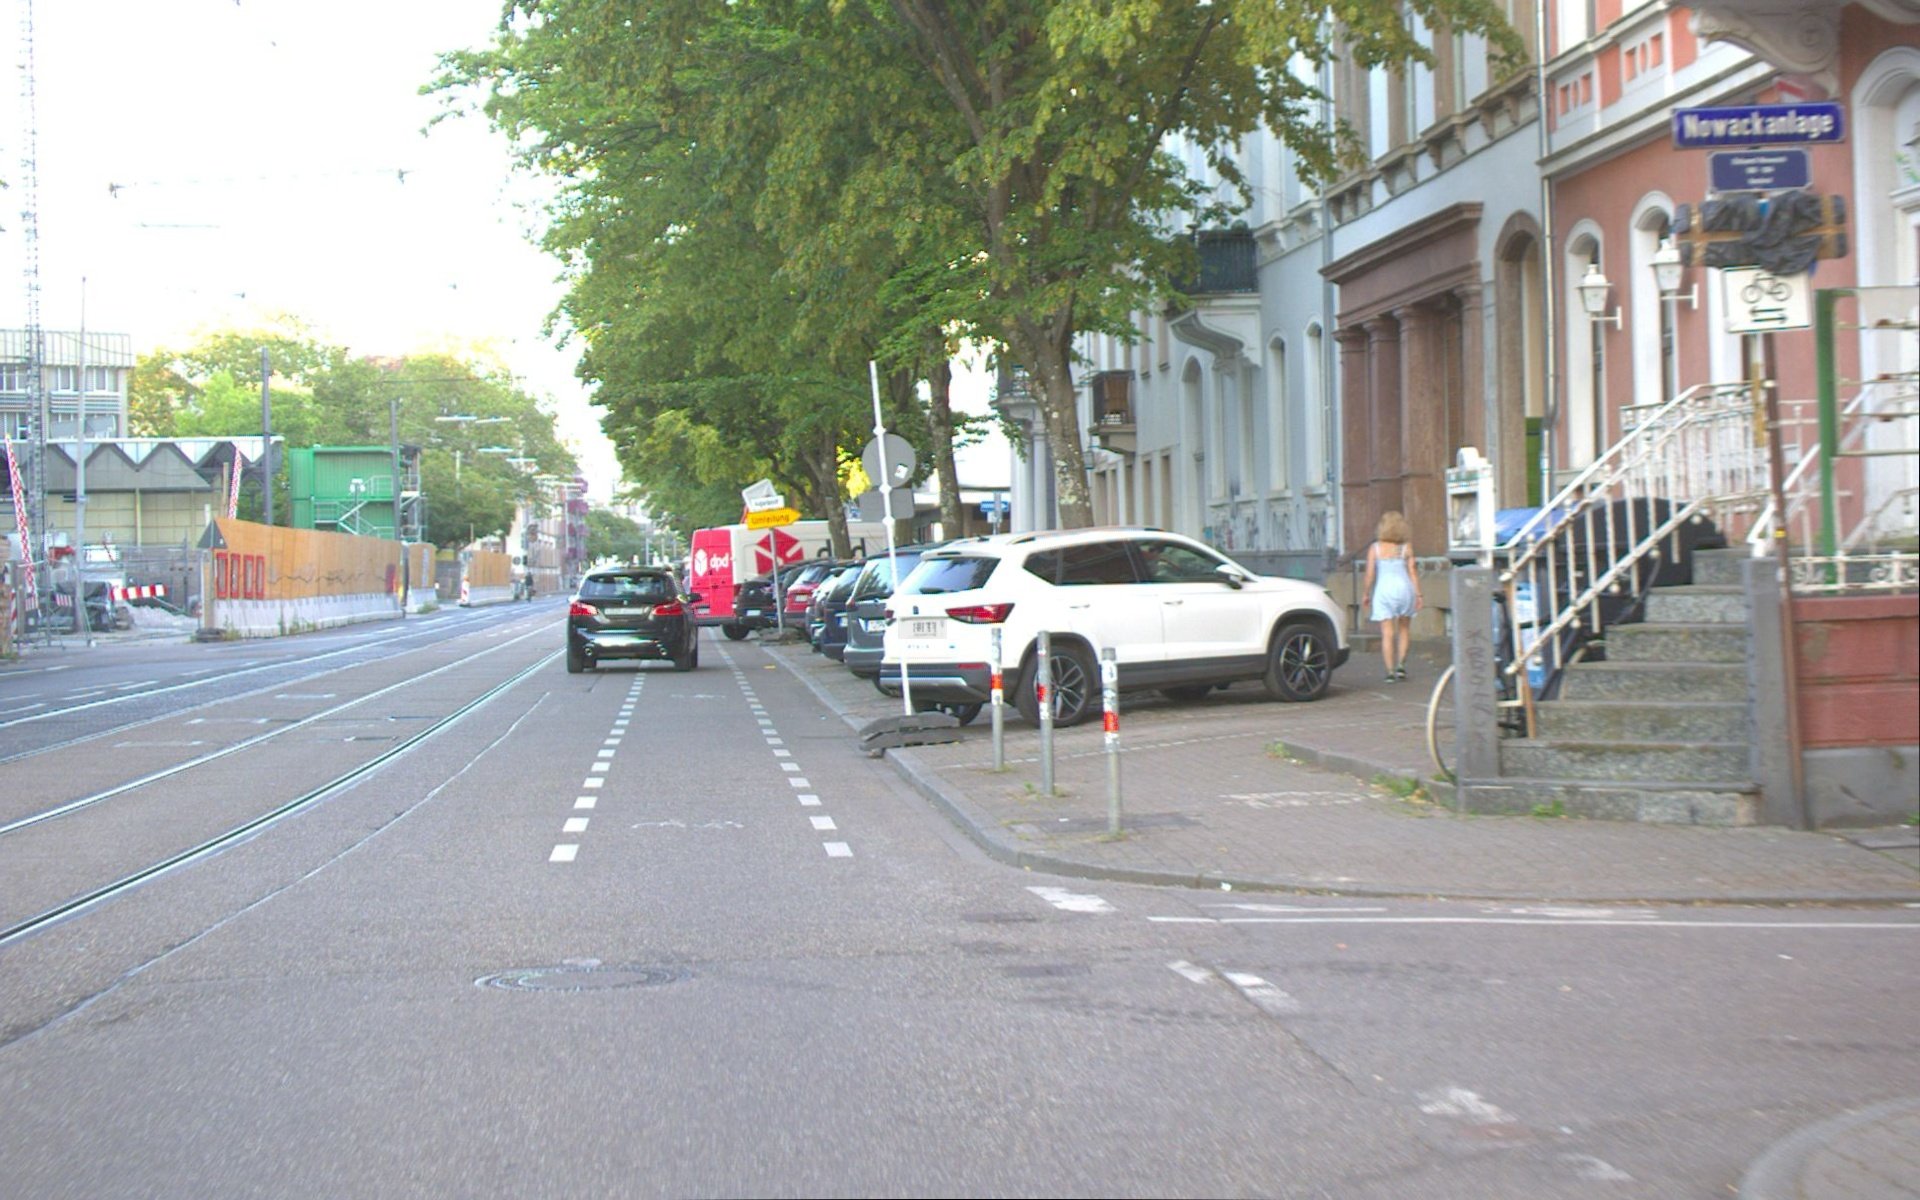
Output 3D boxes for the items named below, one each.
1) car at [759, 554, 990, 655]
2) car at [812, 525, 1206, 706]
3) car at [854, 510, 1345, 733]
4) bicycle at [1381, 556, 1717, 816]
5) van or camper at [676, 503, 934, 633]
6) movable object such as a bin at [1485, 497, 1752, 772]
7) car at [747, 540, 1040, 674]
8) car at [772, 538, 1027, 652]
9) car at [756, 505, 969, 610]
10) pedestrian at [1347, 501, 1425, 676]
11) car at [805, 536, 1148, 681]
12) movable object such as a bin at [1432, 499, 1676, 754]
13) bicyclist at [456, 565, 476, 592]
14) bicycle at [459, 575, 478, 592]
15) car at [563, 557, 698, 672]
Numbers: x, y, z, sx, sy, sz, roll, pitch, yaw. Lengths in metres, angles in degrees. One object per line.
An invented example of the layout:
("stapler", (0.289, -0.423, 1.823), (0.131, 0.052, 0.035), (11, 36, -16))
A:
("car", (-1.635, 0.089, 66.102), (3.942, 1.598, 1.840), (-5, 1, -31))
("car", (0.564, 0.154, 37.486), (3.944, 1.663, 1.901), (-5, 1, -41))
("car", (1.233, 0.147, 29.574), (3.943, 1.621, 1.674), (-4, 2, -35))
("bicycle", (3.119, 0.426, 18.084), (1.913, 1.262, 0.601), (-2, 1, -39))
("van or camper", (-3.474, -0.736, 77.959), (5.534, 2.522, 2.086), (-5, 1, -39))
("movable object such as a bin", (3.736, 0.180, 19.629), (1.140, 1.497, 1.399), (-1, 1, -5))
("car", (-0.974, 0.099, 51.698), (3.943, 1.598, 1.840), (-7, 2, -36))
("car", (-1.033, -0.089, 59.426), (3.943, 1.598, 1.840), (-5, 1, -36))
("car", (-2.045, -0.902, 72.619), (3.943, 1.759, 1.840), (-7, 1, -31))
("pedestrian", (3.974, -0.111, 32.072), (0.586, 1.604, 0.625), (-1, 1, -4))
("car", (0.232, 0.101, 43.531), (3.943, 1.598, 1.840), (-3, 0, -36))
("movable object such as a bin", (3.617, 0.146, 21.070), (1.140, 1.497, 1.399), (-1, 1, -5))
("bicyclist", (-25.569, -1.120, 177.933), (0.944, 1.341, 1.112), (-2, 0, -7))
("bicycle", (-25.545, -0.847, 178.732), (0.947, 0.846, 2.697), (-1, 1, -7))
("car", (-4.884, 0.188, 51.114), (1.881, 1.614, 4.001), (1, 0, -5))
